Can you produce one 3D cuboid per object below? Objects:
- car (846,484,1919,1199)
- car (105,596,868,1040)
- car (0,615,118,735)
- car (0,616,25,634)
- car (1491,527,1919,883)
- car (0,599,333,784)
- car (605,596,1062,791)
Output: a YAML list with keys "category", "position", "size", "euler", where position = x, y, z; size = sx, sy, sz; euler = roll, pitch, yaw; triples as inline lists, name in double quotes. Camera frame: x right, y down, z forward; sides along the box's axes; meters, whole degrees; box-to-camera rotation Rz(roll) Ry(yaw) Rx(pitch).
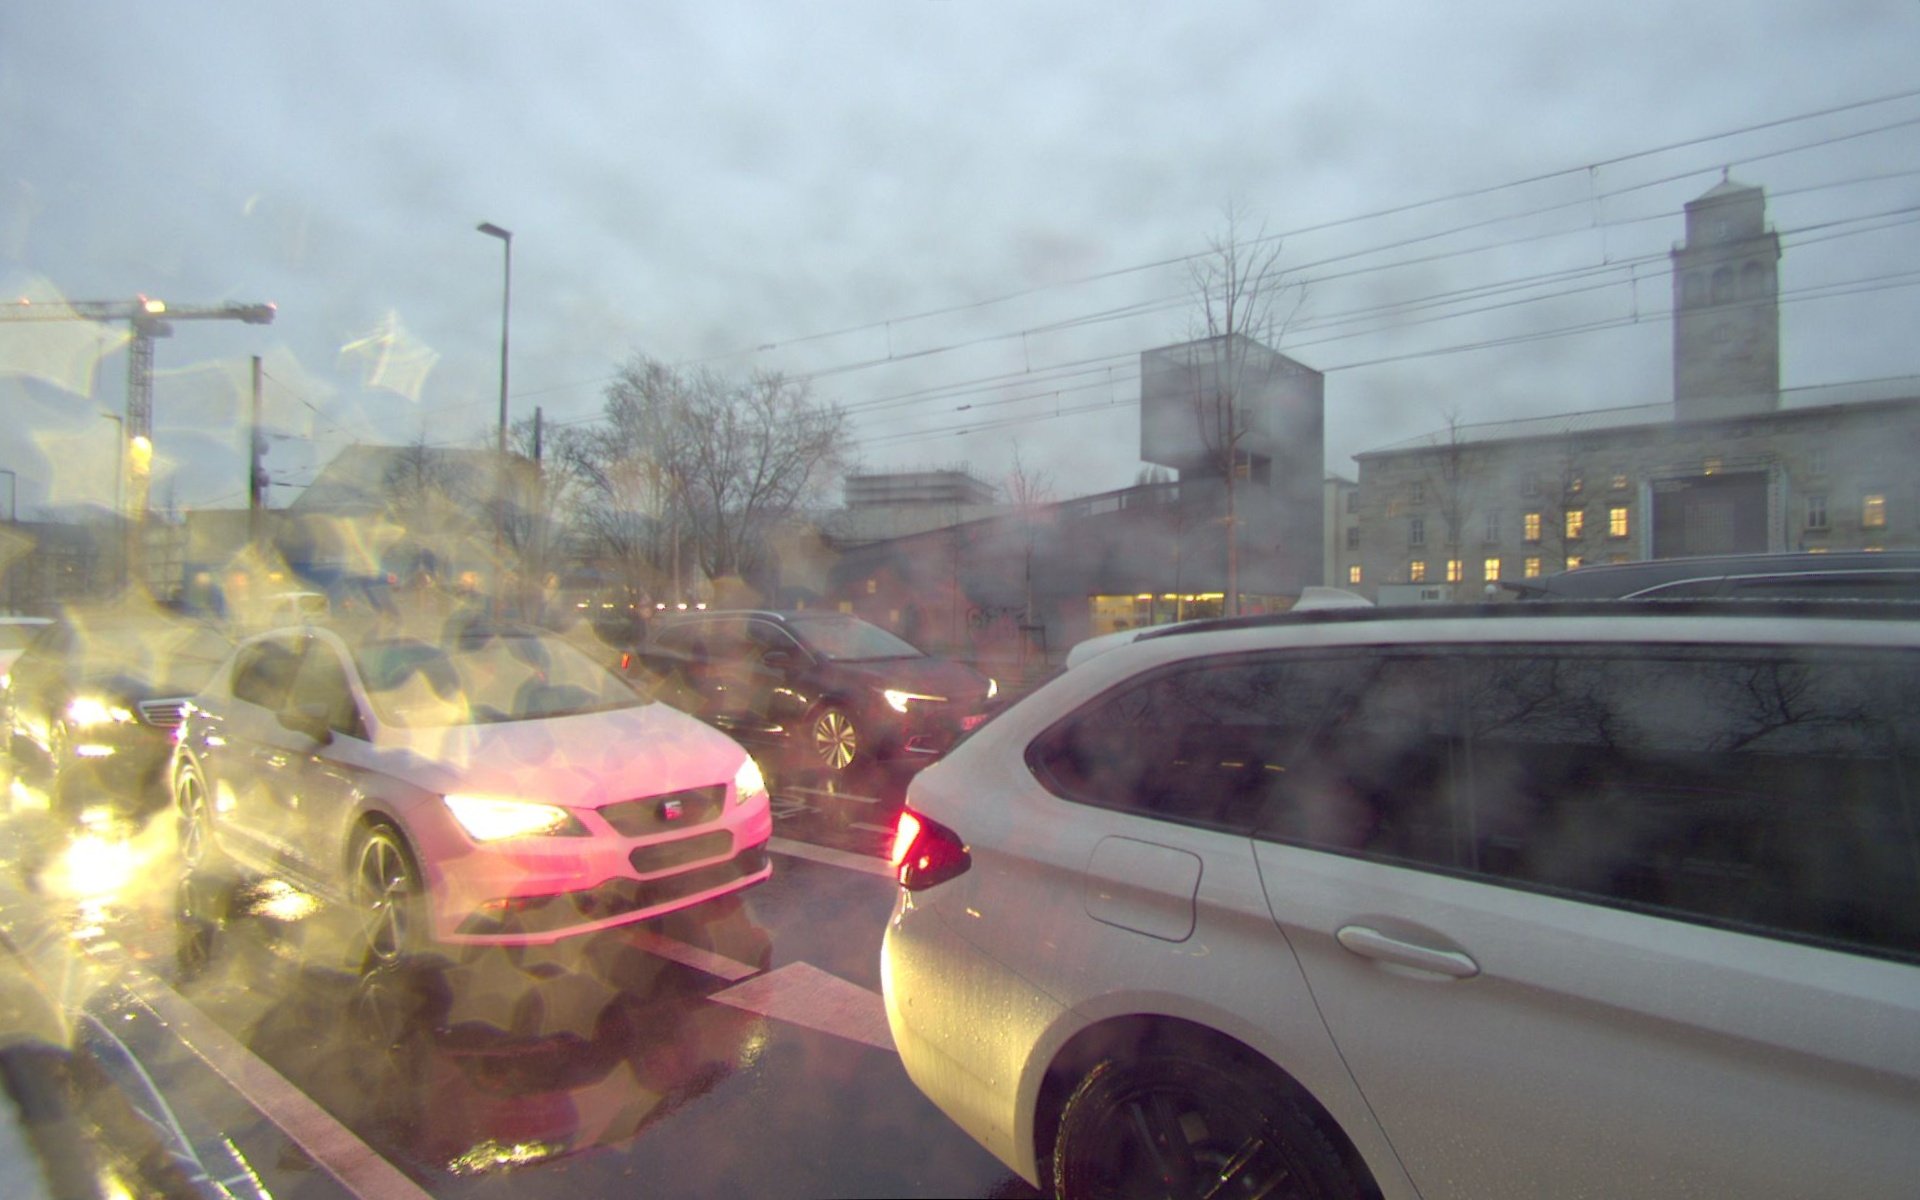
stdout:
- category: "car"
  position: [2.104, 0.628, 1.643]
  size: [4.557, 1.498, 1.996]
  euler: [-1, -2, 41]
- category: "car"
  position: [-2.827, 0.773, 5.581]
  size: [4.497, 1.498, 1.926]
  euler: [-1, 0, 37]
- category: "car"
  position: [-14.258, 1.040, 15.197]
  size: [3.998, 1.586, 1.882]
  euler: [-1, 0, 41]
- category: "car"
  position: [-102.929, 2.647, 109.177]
  size: [3.989, 1.910, 2.072]
  euler: [-1, -2, 34]
- category: "car"
  position: [5.233, 0.476, 4.999]
  size: [4.289, 1.596, 1.946]
  euler: [-1, -1, 42]
- category: "car"
  position: [-8.391, 0.789, 10.392]
  size: [4.501, 1.498, 1.974]
  euler: [-1, -2, 39]
- category: "car"
  position: [-1.432, 0.753, 10.076]
  size: [4.659, 1.519, 1.830]
  euler: [0, -1, 39]
